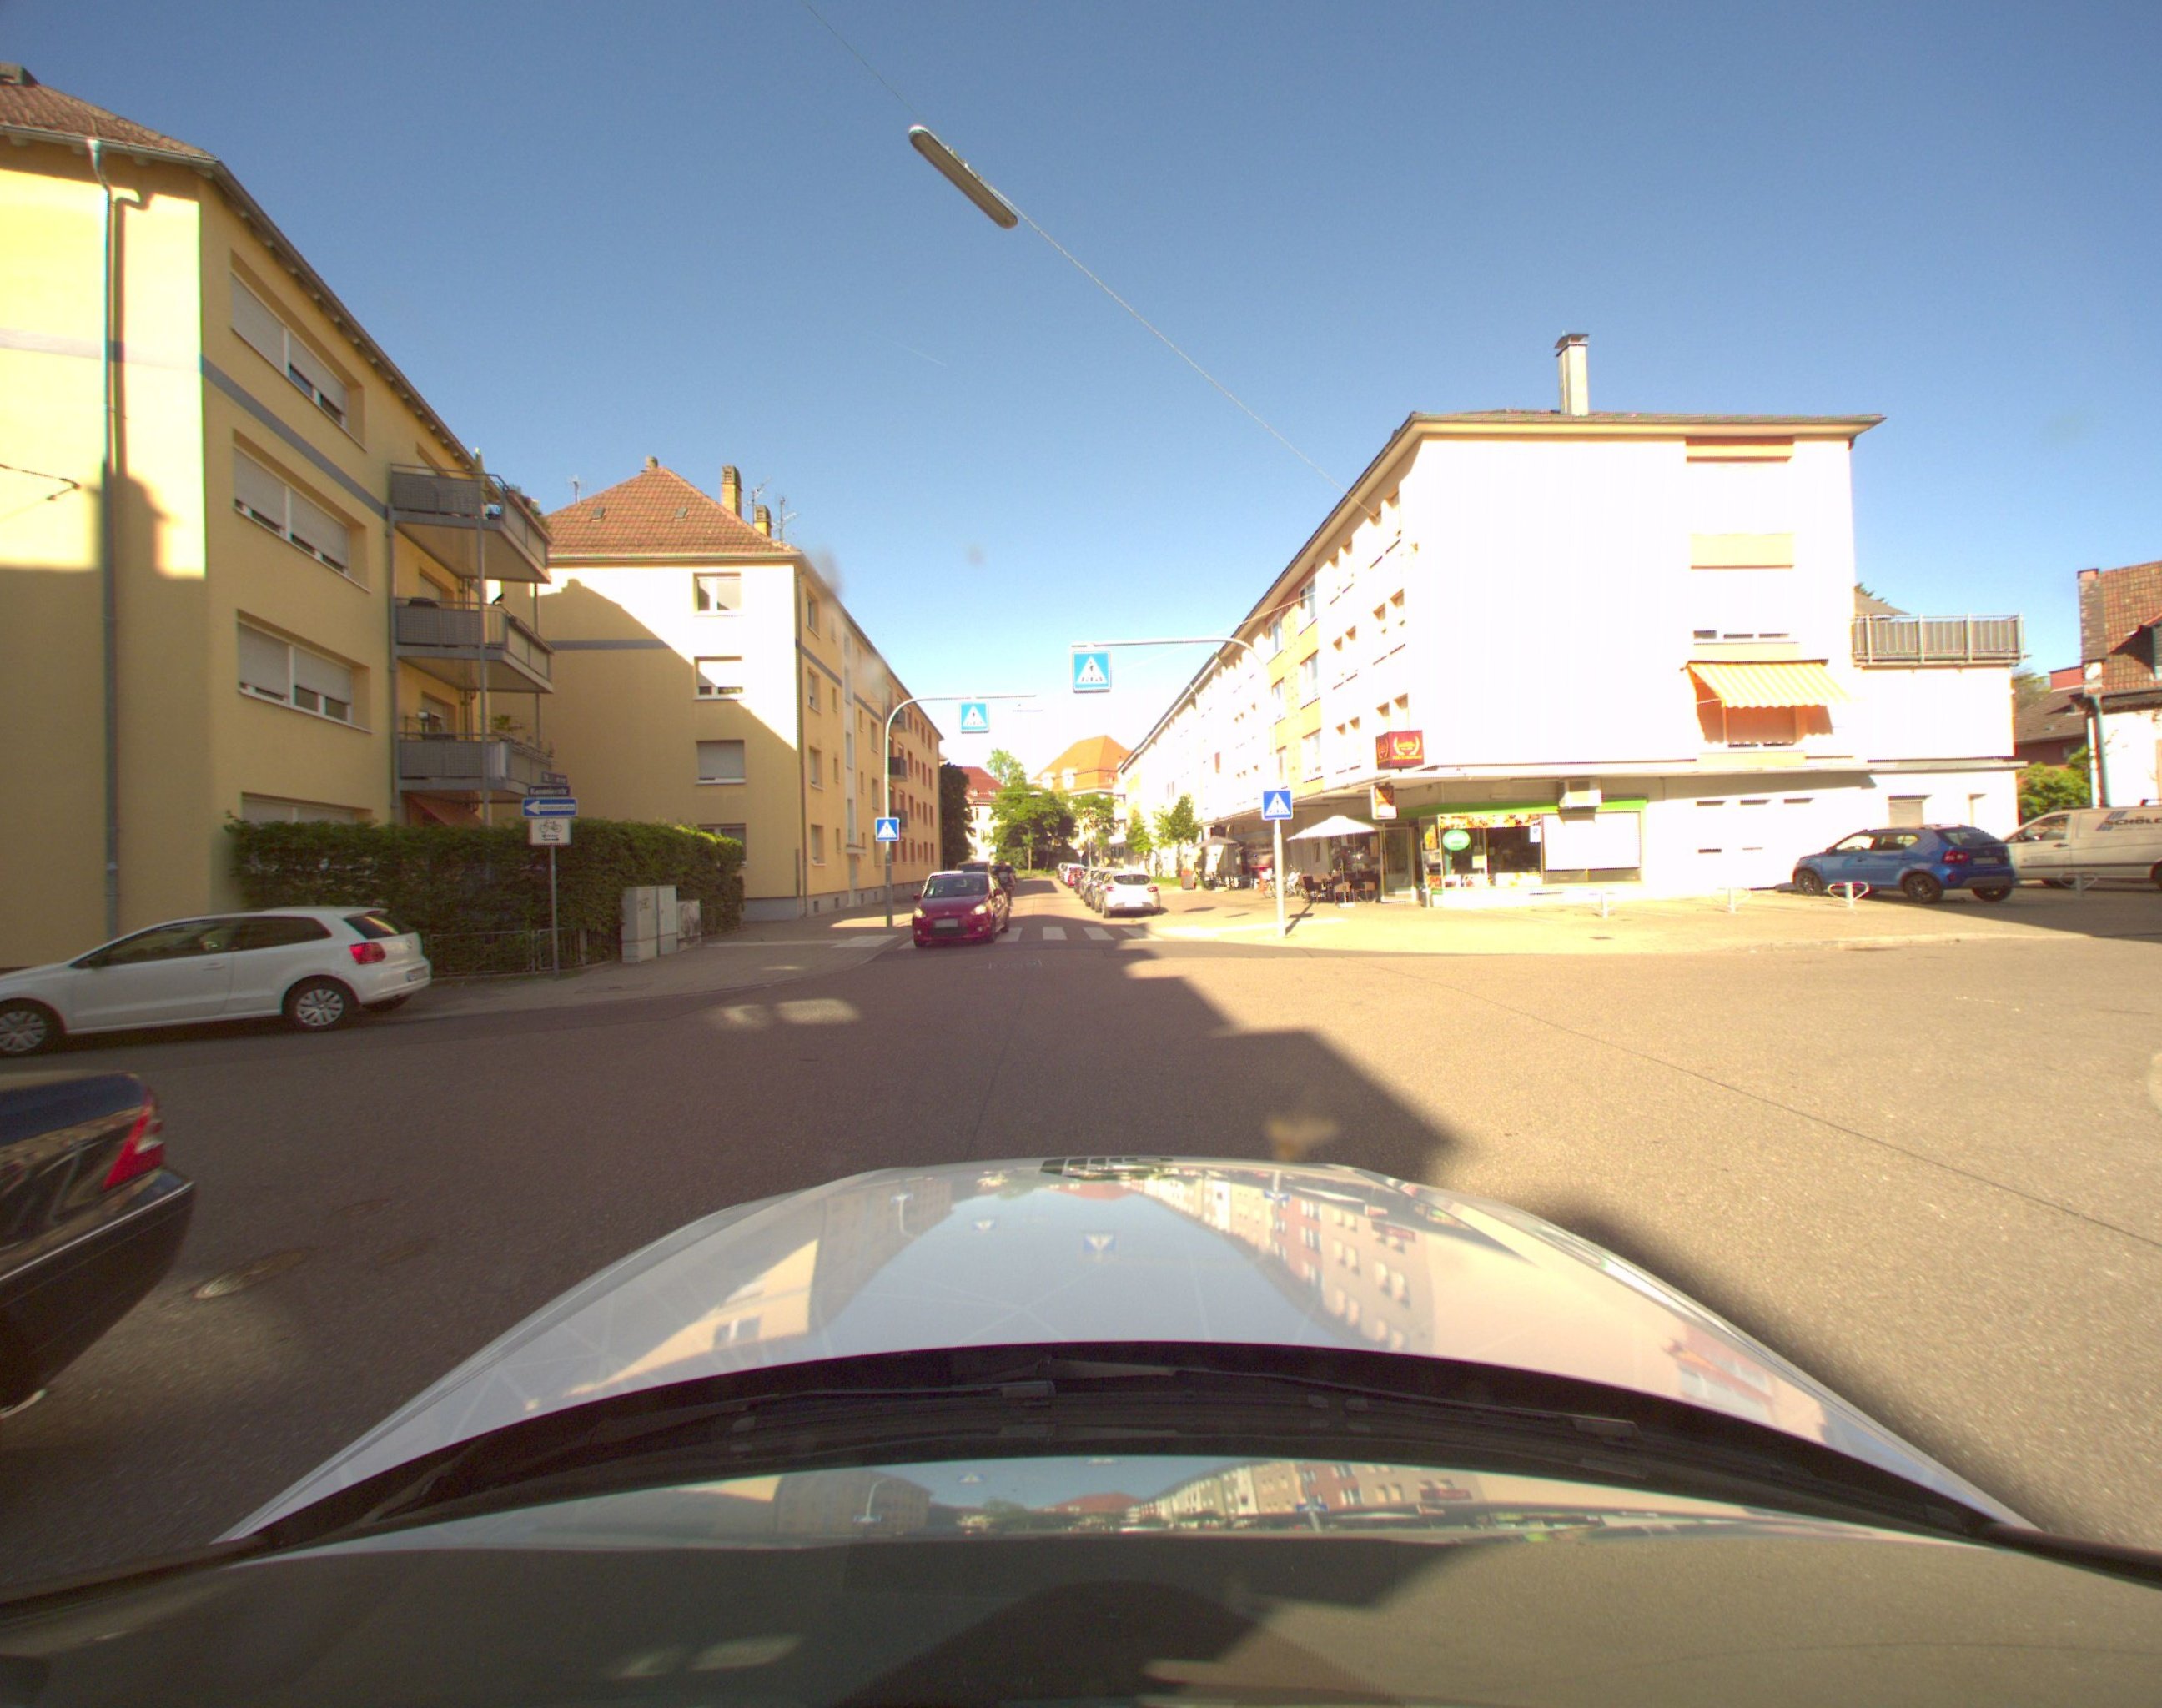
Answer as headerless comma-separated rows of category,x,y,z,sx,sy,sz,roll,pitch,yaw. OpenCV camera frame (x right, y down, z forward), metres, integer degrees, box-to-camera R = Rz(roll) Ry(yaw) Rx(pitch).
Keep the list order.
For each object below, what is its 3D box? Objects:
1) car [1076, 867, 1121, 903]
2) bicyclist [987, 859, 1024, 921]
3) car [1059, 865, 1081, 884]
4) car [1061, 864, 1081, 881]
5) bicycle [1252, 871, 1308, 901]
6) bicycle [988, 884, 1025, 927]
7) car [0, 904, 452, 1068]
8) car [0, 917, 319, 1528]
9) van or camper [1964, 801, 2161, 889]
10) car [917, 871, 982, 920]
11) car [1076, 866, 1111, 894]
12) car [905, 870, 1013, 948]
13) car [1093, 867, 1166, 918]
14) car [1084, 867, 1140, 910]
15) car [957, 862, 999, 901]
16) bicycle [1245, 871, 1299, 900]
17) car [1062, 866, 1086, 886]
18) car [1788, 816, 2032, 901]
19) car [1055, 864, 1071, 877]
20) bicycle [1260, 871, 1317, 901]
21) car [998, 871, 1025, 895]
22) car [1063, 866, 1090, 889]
car,0.718,1.329,36.202,1.635,1.441,3.413,-2,-1,-4
bicyclist,-2.096,0.981,22.687,0.783,1.621,0.956,-4,-1,1
car,-0.948,1.658,67.592,1.634,1.441,3.414,-2,-1,-4
car,-0.903,1.628,72.182,1.634,1.441,3.414,-2,-1,-4
bicycle,7.188,1.149,29.426,1.809,0.967,0.670,-2,-1,-14
bicycle,-2.063,1.422,22.817,0.775,1.069,1.790,-2,-1,2
car,-10.298,1.473,9.783,3.994,1.479,1.583,-2,-1,-21
car,-3.377,0.959,0.573,1.701,1.416,4.366,-7,-1,-5
van or camper,23.123,-0.194,18.162,1.769,1.813,4.470,-2,-1,-4
car,-4.744,1.451,29.885,1.787,1.480,4.095,-4,0,-3
car,0.647,1.425,45.152,1.635,1.441,3.413,-2,-1,-4
car,-2.538,1.106,17.651,1.691,1.441,3.419,-2,-1,1
car,1.464,1.162,25.724,1.842,1.441,3.413,-2,-1,-4
car,1.098,1.225,30.363,1.687,1.441,3.413,-2,-1,-4
car,-5.125,1.347,40.884,1.693,1.779,4.094,-2,-1,-3
bicycle,7.042,1.159,30.046,1.809,0.967,0.670,-2,-1,-14
car,-0.584,1.664,62.835,1.634,1.441,3.414,-2,-1,-4
car,17.758,0.113,17.688,1.576,1.613,3.470,-2,-1,-4
car,-2.064,1.856,91.329,1.634,1.441,3.414,-2,-1,-4
bicycle,7.340,1.112,28.807,1.809,0.967,0.670,-2,-1,-14
car,-4.570,1.875,53.823,1.635,1.441,3.413,-2,-1,-4
car,-0.318,1.606,56.827,1.634,1.441,3.414,-2,-1,-4
